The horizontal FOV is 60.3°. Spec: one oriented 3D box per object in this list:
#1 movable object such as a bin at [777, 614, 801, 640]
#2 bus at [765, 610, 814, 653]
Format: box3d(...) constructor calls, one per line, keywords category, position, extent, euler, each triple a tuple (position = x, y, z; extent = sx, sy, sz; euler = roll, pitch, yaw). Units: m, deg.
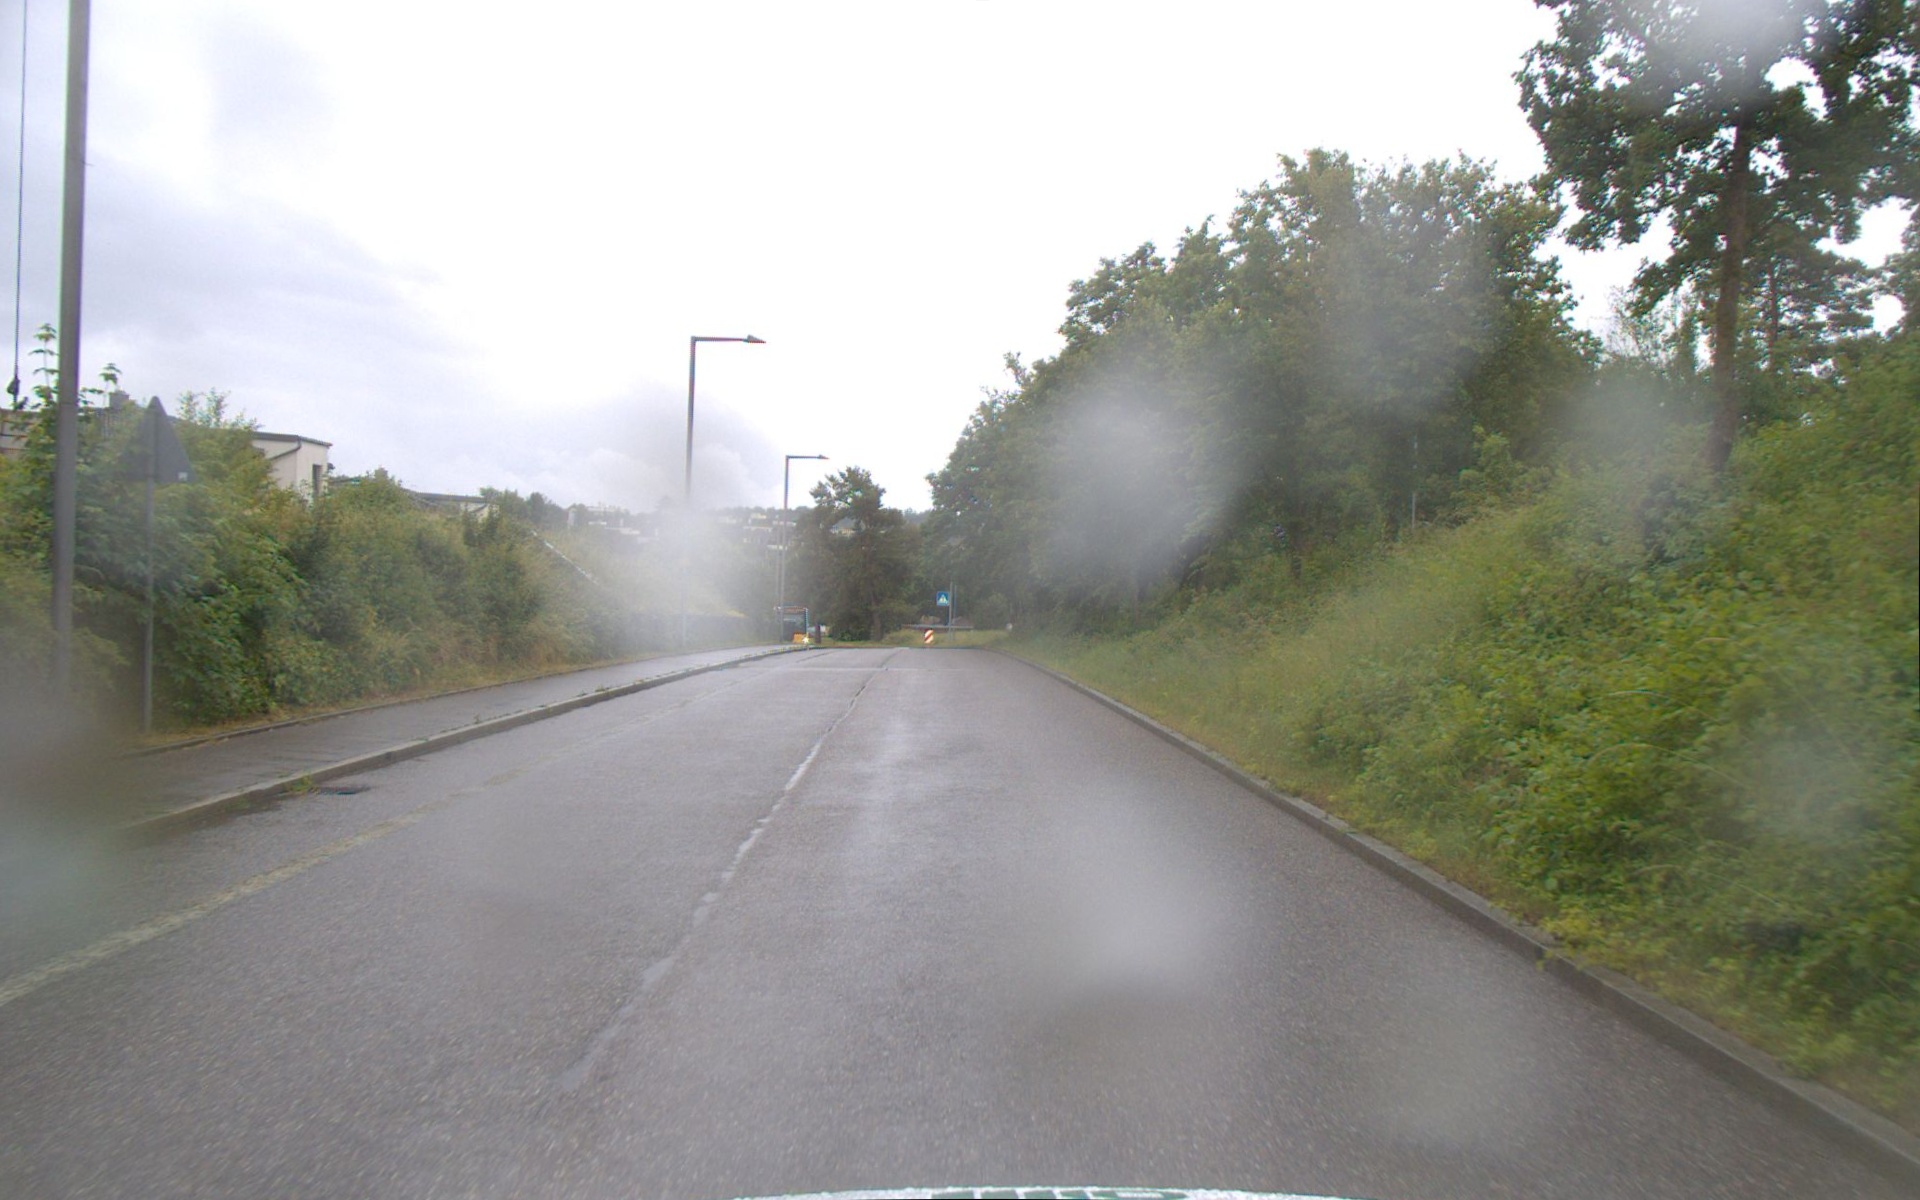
box3d(category="movable object such as a bin", position=(-9.553, 1.530, 92.463), extent=(1.111, 1.363, 1.395), euler=(4, -2, -11))
box3d(category="bus", position=(-12.854, 2.401, 123.921), extent=(2.593, 3.121, 10.822), euler=(0, -2, -12))
